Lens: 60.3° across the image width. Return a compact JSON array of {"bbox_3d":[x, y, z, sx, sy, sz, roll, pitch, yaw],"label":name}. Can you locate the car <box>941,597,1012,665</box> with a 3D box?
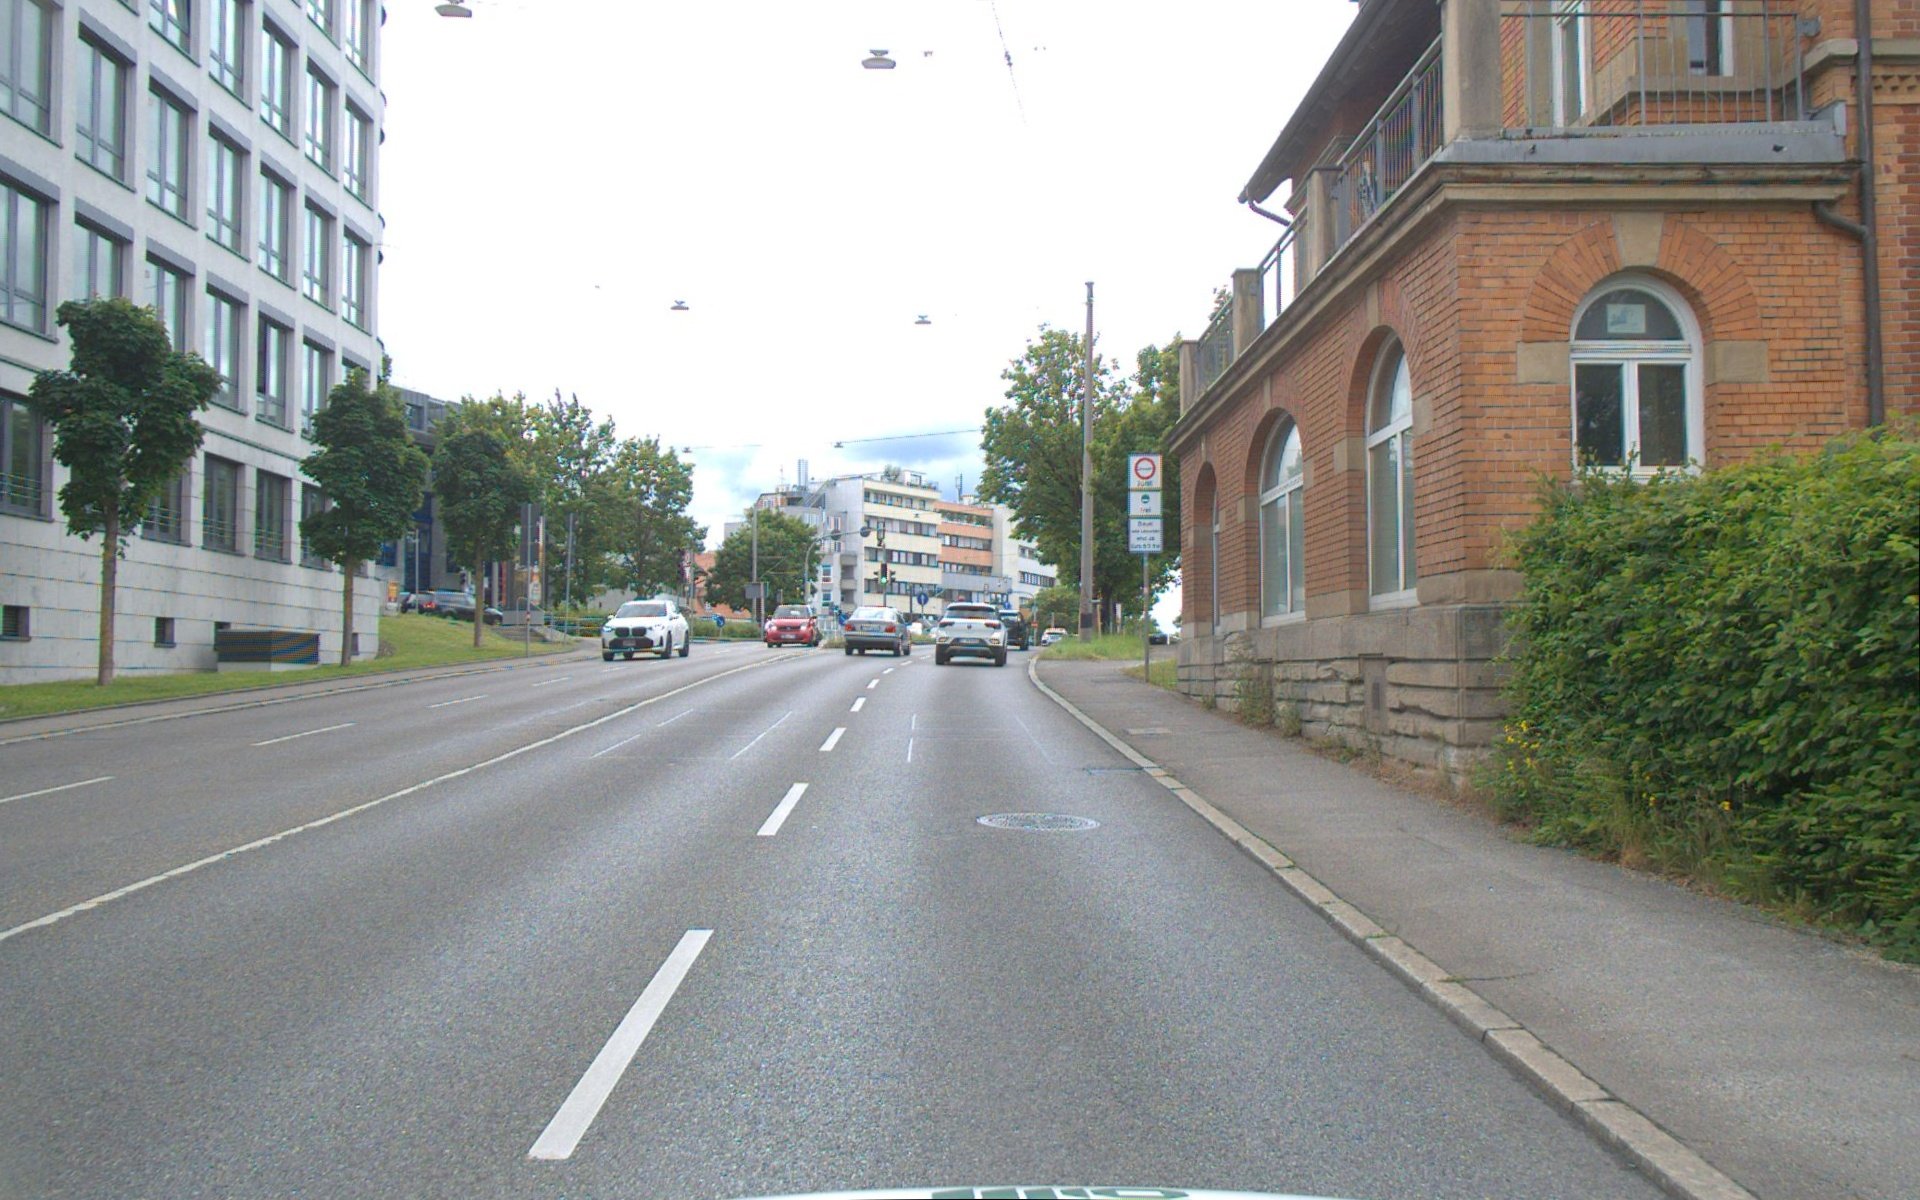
[{"bbox_3d":[0.386,0.774,42.984,1.665,1.575,3.735,3,1,-1],"label":"car"}]

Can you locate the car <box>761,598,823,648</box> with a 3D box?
[{"bbox_3d":[-6.244,0.831,61.903,1.831,1.731,4.429,-2,0,-1],"label":"car"}]

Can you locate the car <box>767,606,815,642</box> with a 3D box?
[{"bbox_3d":[-7.660,1.054,75.355,1.711,1.521,4.207,-2,0,0],"label":"car"}]

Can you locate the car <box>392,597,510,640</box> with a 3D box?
[{"bbox_3d":[-19.199,0.692,62.611,1.741,1.488,4.438,2,0,24],"label":"car"}]

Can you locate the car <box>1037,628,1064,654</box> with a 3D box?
[{"bbox_3d":[5.861,2.644,106.814,1.733,1.598,4.287,0,0,3],"label":"car"}]

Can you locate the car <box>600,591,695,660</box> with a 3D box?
[{"bbox_3d":[-8.979,0.699,47.903,1.831,1.820,4.653,-2,0,-1],"label":"car"}]

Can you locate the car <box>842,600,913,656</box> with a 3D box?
[{"bbox_3d":[-2.383,0.793,48.444,1.664,1.542,3.738,0,1,4],"label":"car"}]

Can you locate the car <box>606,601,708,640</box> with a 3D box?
[{"bbox_3d":[-12.738,0.873,69.726,1.750,1.571,3.974,0,-1,43],"label":"car"}]

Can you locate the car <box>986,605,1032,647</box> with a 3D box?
[{"bbox_3d":[1.863,1.006,63.479,1.665,1.543,3.493,1,-1,0],"label":"car"}]
